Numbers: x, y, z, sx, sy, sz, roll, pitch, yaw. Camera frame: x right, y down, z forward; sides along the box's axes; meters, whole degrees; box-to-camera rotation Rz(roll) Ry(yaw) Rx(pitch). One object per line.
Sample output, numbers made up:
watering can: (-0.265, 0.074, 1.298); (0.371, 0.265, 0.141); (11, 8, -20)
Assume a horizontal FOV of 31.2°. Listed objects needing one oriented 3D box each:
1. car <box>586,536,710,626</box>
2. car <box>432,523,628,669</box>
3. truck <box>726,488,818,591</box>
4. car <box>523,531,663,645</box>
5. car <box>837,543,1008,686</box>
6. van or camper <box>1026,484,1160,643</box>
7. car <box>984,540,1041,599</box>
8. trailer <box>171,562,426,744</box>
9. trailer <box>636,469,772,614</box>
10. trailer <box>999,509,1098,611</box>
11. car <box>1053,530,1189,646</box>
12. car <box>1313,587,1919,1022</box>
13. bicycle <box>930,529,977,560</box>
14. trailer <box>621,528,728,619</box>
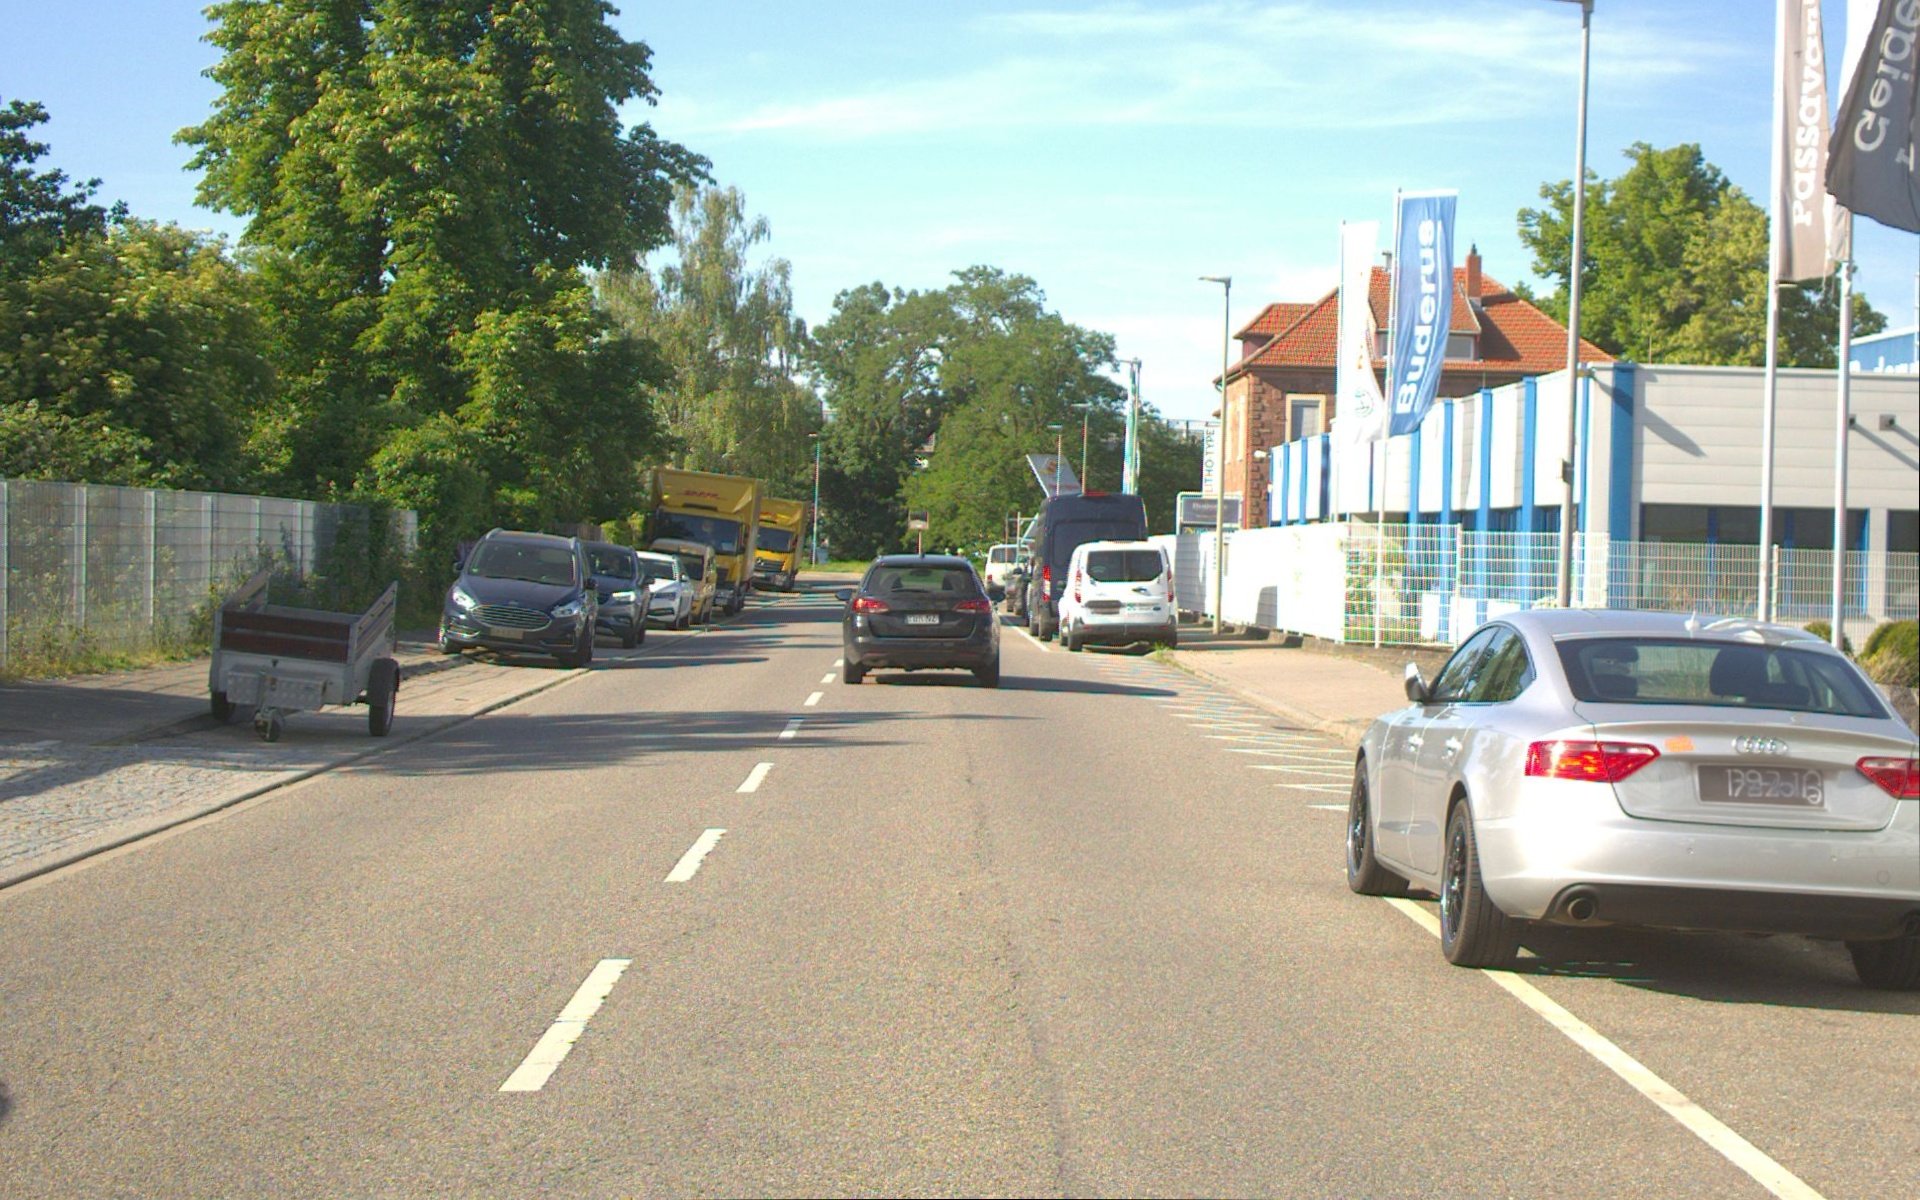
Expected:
car: (-6.392, -0.410, 70.957); (1.908, 1.587, 5.025); (6, 1, 0)
car: (-5.772, -0.093, 46.680); (1.792, 1.725, 4.802); (5, 1, 1)
truck: (-7.127, -2.379, 131.376); (2.632, 3.493, 8.657); (8, 2, 0)
car: (-6.099, -0.236, 57.584); (1.908, 1.657, 4.464); (6, 1, -3)
car: (-0.397, 0.123, 39.688); (1.847, 1.525, 4.000); (1, 1, 0)
van or camper: (2.461, -0.676, 65.186); (2.141, 2.750, 6.161); (3, 0, 0)
car: (1.887, -1.110, 125.265); (1.874, 2.007, 5.160); (3, 0, 0)
trailer: (-5.465, 0.403, 28.712); (1.476, 1.349, 3.079); (3, 1, 0)
trailer: (-6.461, -1.477, 87.782); (2.991, 3.431, 8.162); (2, 1, -2)
trailer: (2.414, -1.115, 95.209); (2.460, 2.663, 5.702); (2, 1, 0)
car: (2.705, -0.219, 58.750); (1.885, 1.791, 5.104); (3, 0, -1)
car: (2.758, 0.706, 14.402); (1.894, 1.400, 5.124); (3, 0, -1)
bicycle: (-0.290, -2.433, 150.013); (0.803, 1.263, 2.258); (3, 0, -35)
trailer: (-6.350, -0.605, 76.882); (1.993, 1.935, 4.415); (1, 1, 0)
